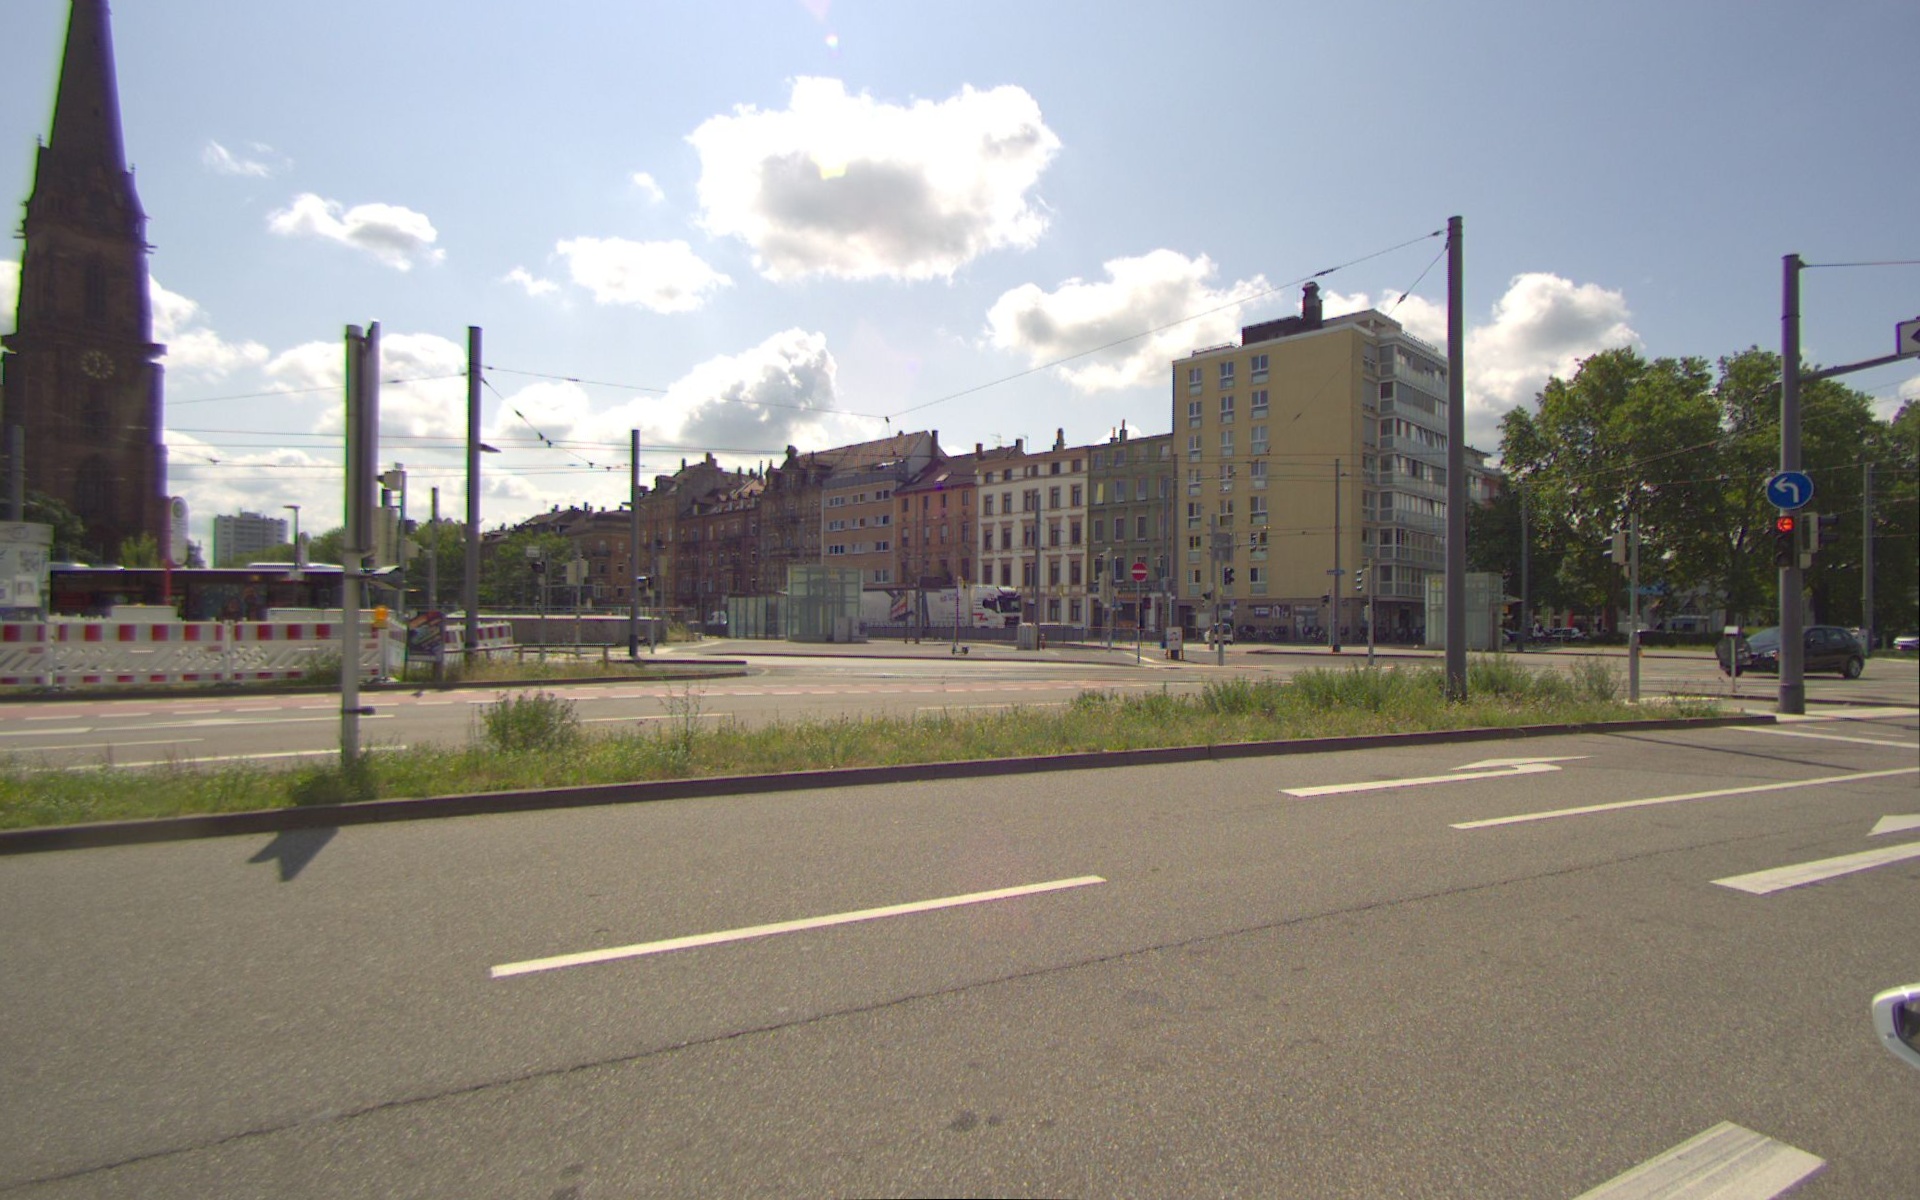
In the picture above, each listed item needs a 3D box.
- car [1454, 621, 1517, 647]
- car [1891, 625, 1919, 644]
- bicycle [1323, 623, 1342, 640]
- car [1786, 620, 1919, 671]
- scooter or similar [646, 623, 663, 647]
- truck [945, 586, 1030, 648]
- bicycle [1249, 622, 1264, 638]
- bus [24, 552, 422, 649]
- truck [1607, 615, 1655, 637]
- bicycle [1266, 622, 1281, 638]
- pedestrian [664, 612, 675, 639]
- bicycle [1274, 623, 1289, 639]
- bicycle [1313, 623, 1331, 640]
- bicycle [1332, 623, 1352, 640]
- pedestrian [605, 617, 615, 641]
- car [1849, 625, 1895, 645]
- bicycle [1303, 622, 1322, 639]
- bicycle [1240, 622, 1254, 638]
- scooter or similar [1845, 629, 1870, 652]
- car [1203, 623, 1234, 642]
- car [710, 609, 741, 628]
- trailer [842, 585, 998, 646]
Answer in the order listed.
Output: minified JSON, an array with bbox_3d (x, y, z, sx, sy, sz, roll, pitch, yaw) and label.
[{"bbox_3d":[42.102,2.721,80.522,1.971,1.883,4.057,3,-1,-44],"label":"car"},{"bbox_3d":[82.200,3.002,86.493,4.131,1.595,1.983,3,-1,-32],"label":"car"},{"bbox_3d":[27.077,2.292,73.036,0.523,1.162,2.135,2,-1,-1],"label":"bicycle"},{"bbox_3d":[27.736,1.385,30.946,4.088,1.488,1.652,1,-1,-19],"label":"car"},{"bbox_3d":[-14.190,1.611,46.645,0.238,1.104,1.131,2,-1,9],"label":"scooter or similar"},{"bbox_3d":[1.821,1.131,68.805,2.691,4.022,5.377,3,-1,-45],"label":"truck"},{"bbox_3d":[22.713,2.279,77.010,0.501,1.162,2.135,2,-1,2],"label":"bicycle"},{"bbox_3d":[-25.936,0.044,35.740,12.027,2.897,2.595,2,-1,-1],"label":"bus"},{"bbox_3d":[66.375,2.601,99.386,4.713,2.148,1.799,1,-1,-25],"label":"truck"},{"bbox_3d":[23.675,2.292,75.988,0.501,1.162,2.135,2,-1,2],"label":"bicycle"},{"bbox_3d":[-20.134,1.757,69.537,0.609,1.816,0.525,2,0,-22],"label":"pedestrian"},{"bbox_3d":[24.209,2.321,75.712,0.501,1.162,2.135,2,-1,2],"label":"bicycle"},{"bbox_3d":[26.437,2.297,73.395,0.501,1.162,2.134,2,-1,-1],"label":"bicycle"},{"bbox_3d":[27.688,2.293,72.834,0.501,1.162,2.134,2,-1,-1],"label":"bicycle"},{"bbox_3d":[-26.574,2.177,76.247,0.609,1.816,0.525,2,0,-22],"label":"pedestrian"},{"bbox_3d":[80.772,3.075,88.967,4.131,1.595,1.983,3,-1,-32],"label":"car"},{"bbox_3d":[25.843,2.241,73.659,0.501,1.162,2.134,2,-1,-1],"label":"bicycle"},{"bbox_3d":[22.084,2.279,77.441,0.501,1.162,2.135,2,-1,2],"label":"bicycle"},{"bbox_3d":[46.043,2.092,51.533,1.075,1.130,0.378,2,0,-10],"label":"scooter or similar"},{"bbox_3d":[18.072,2.260,70.331,1.625,1.338,3.359,0,-1,7],"label":"car"},{"bbox_3d":[-30.592,2.378,131.150,4.063,2.374,1.988,1,-1,44],"label":"car"},{"bbox_3d":[-3.233,1.017,73.917,2.691,4.022,13.855,3,-1,-45],"label":"trailer"}]
